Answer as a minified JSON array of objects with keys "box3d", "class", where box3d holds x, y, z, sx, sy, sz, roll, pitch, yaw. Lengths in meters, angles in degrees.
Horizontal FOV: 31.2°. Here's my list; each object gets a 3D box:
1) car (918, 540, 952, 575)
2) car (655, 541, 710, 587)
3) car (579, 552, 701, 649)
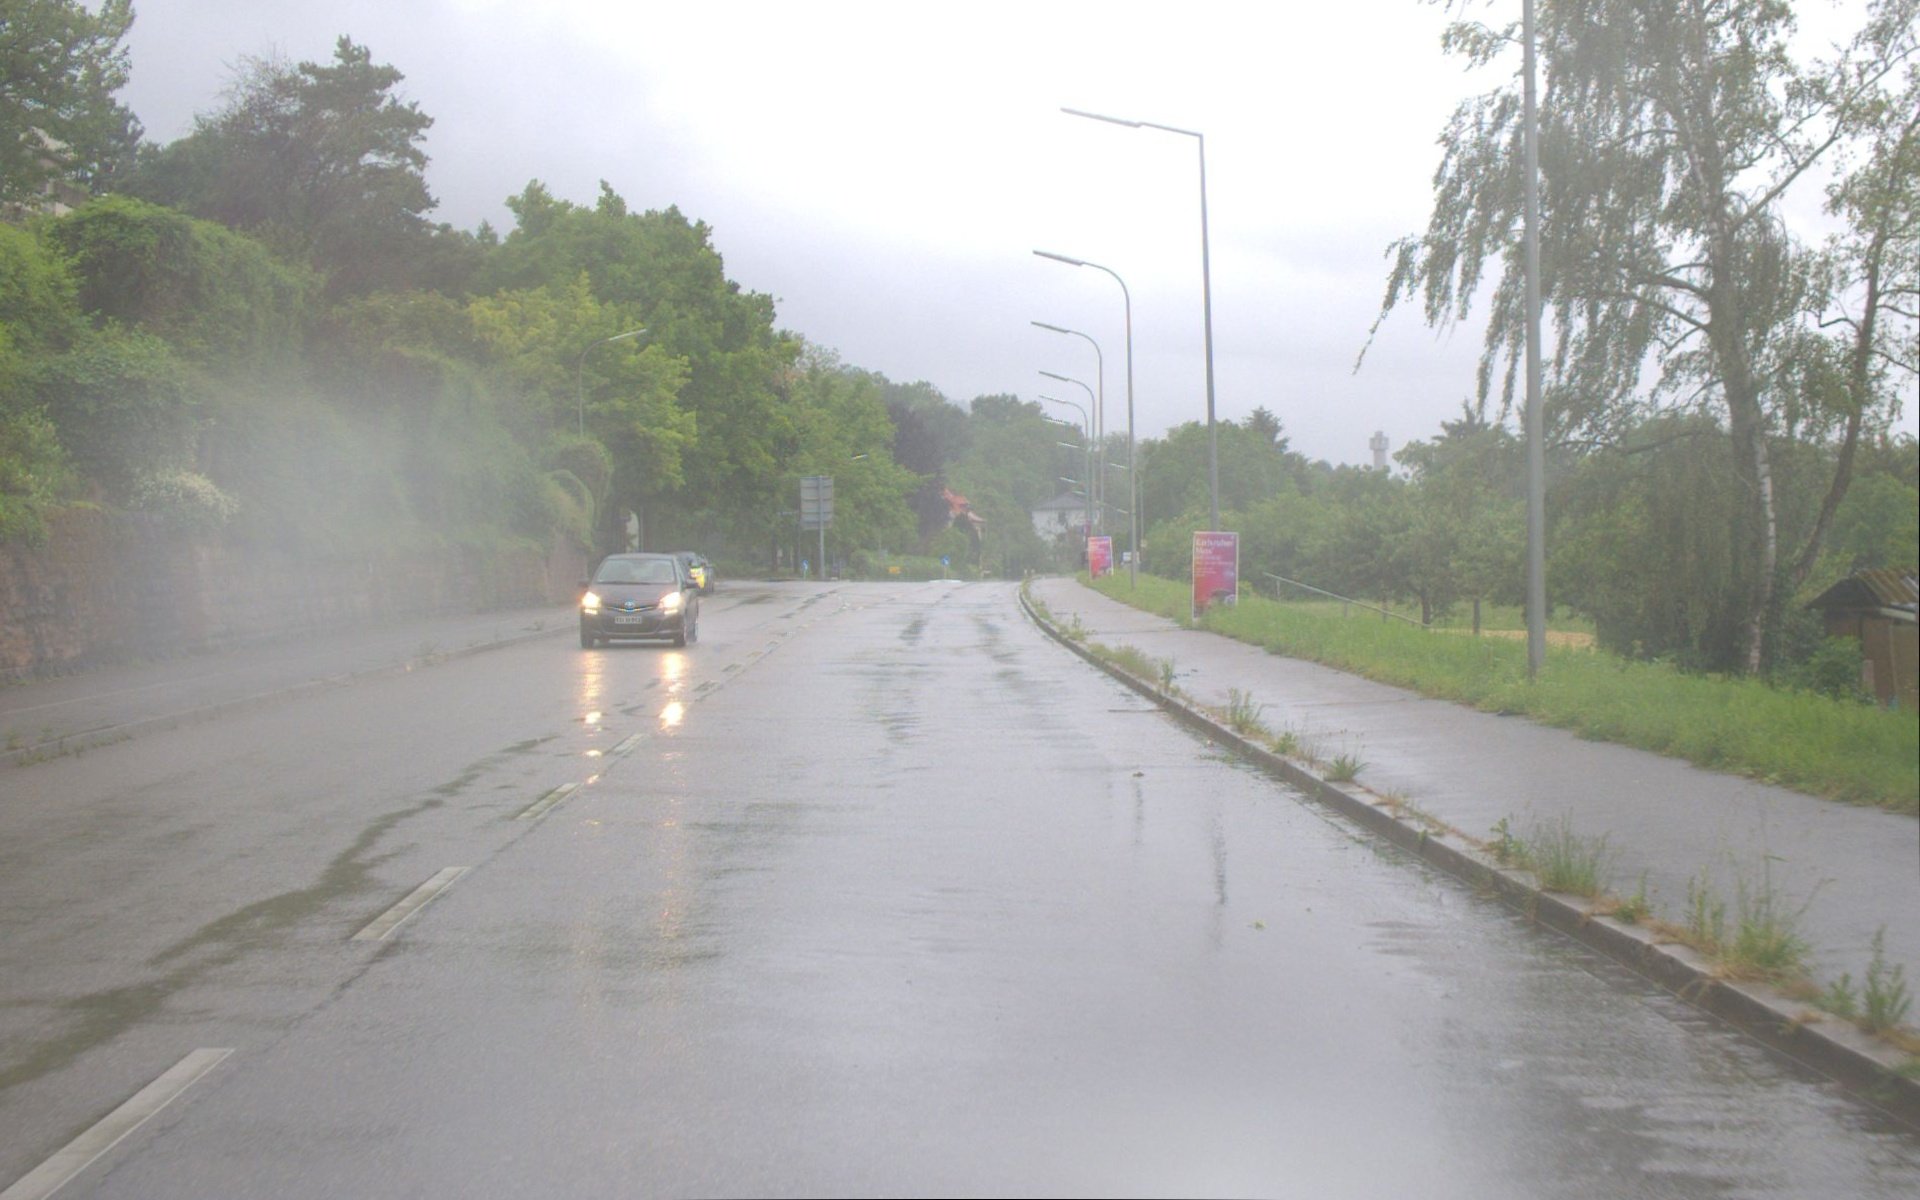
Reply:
[{"box3d":[-1.505,-2.521,204.935,1.993,2.007,4.000,0,0,-1],"class":"car"},{"box3d":[-9.235,-1.199,114.596,1.727,1.491,3.988,-1,1,-3],"class":"car"},{"box3d":[-5.185,-0.018,56.116,1.759,1.491,4.128,-1,1,-3],"class":"car"}]
